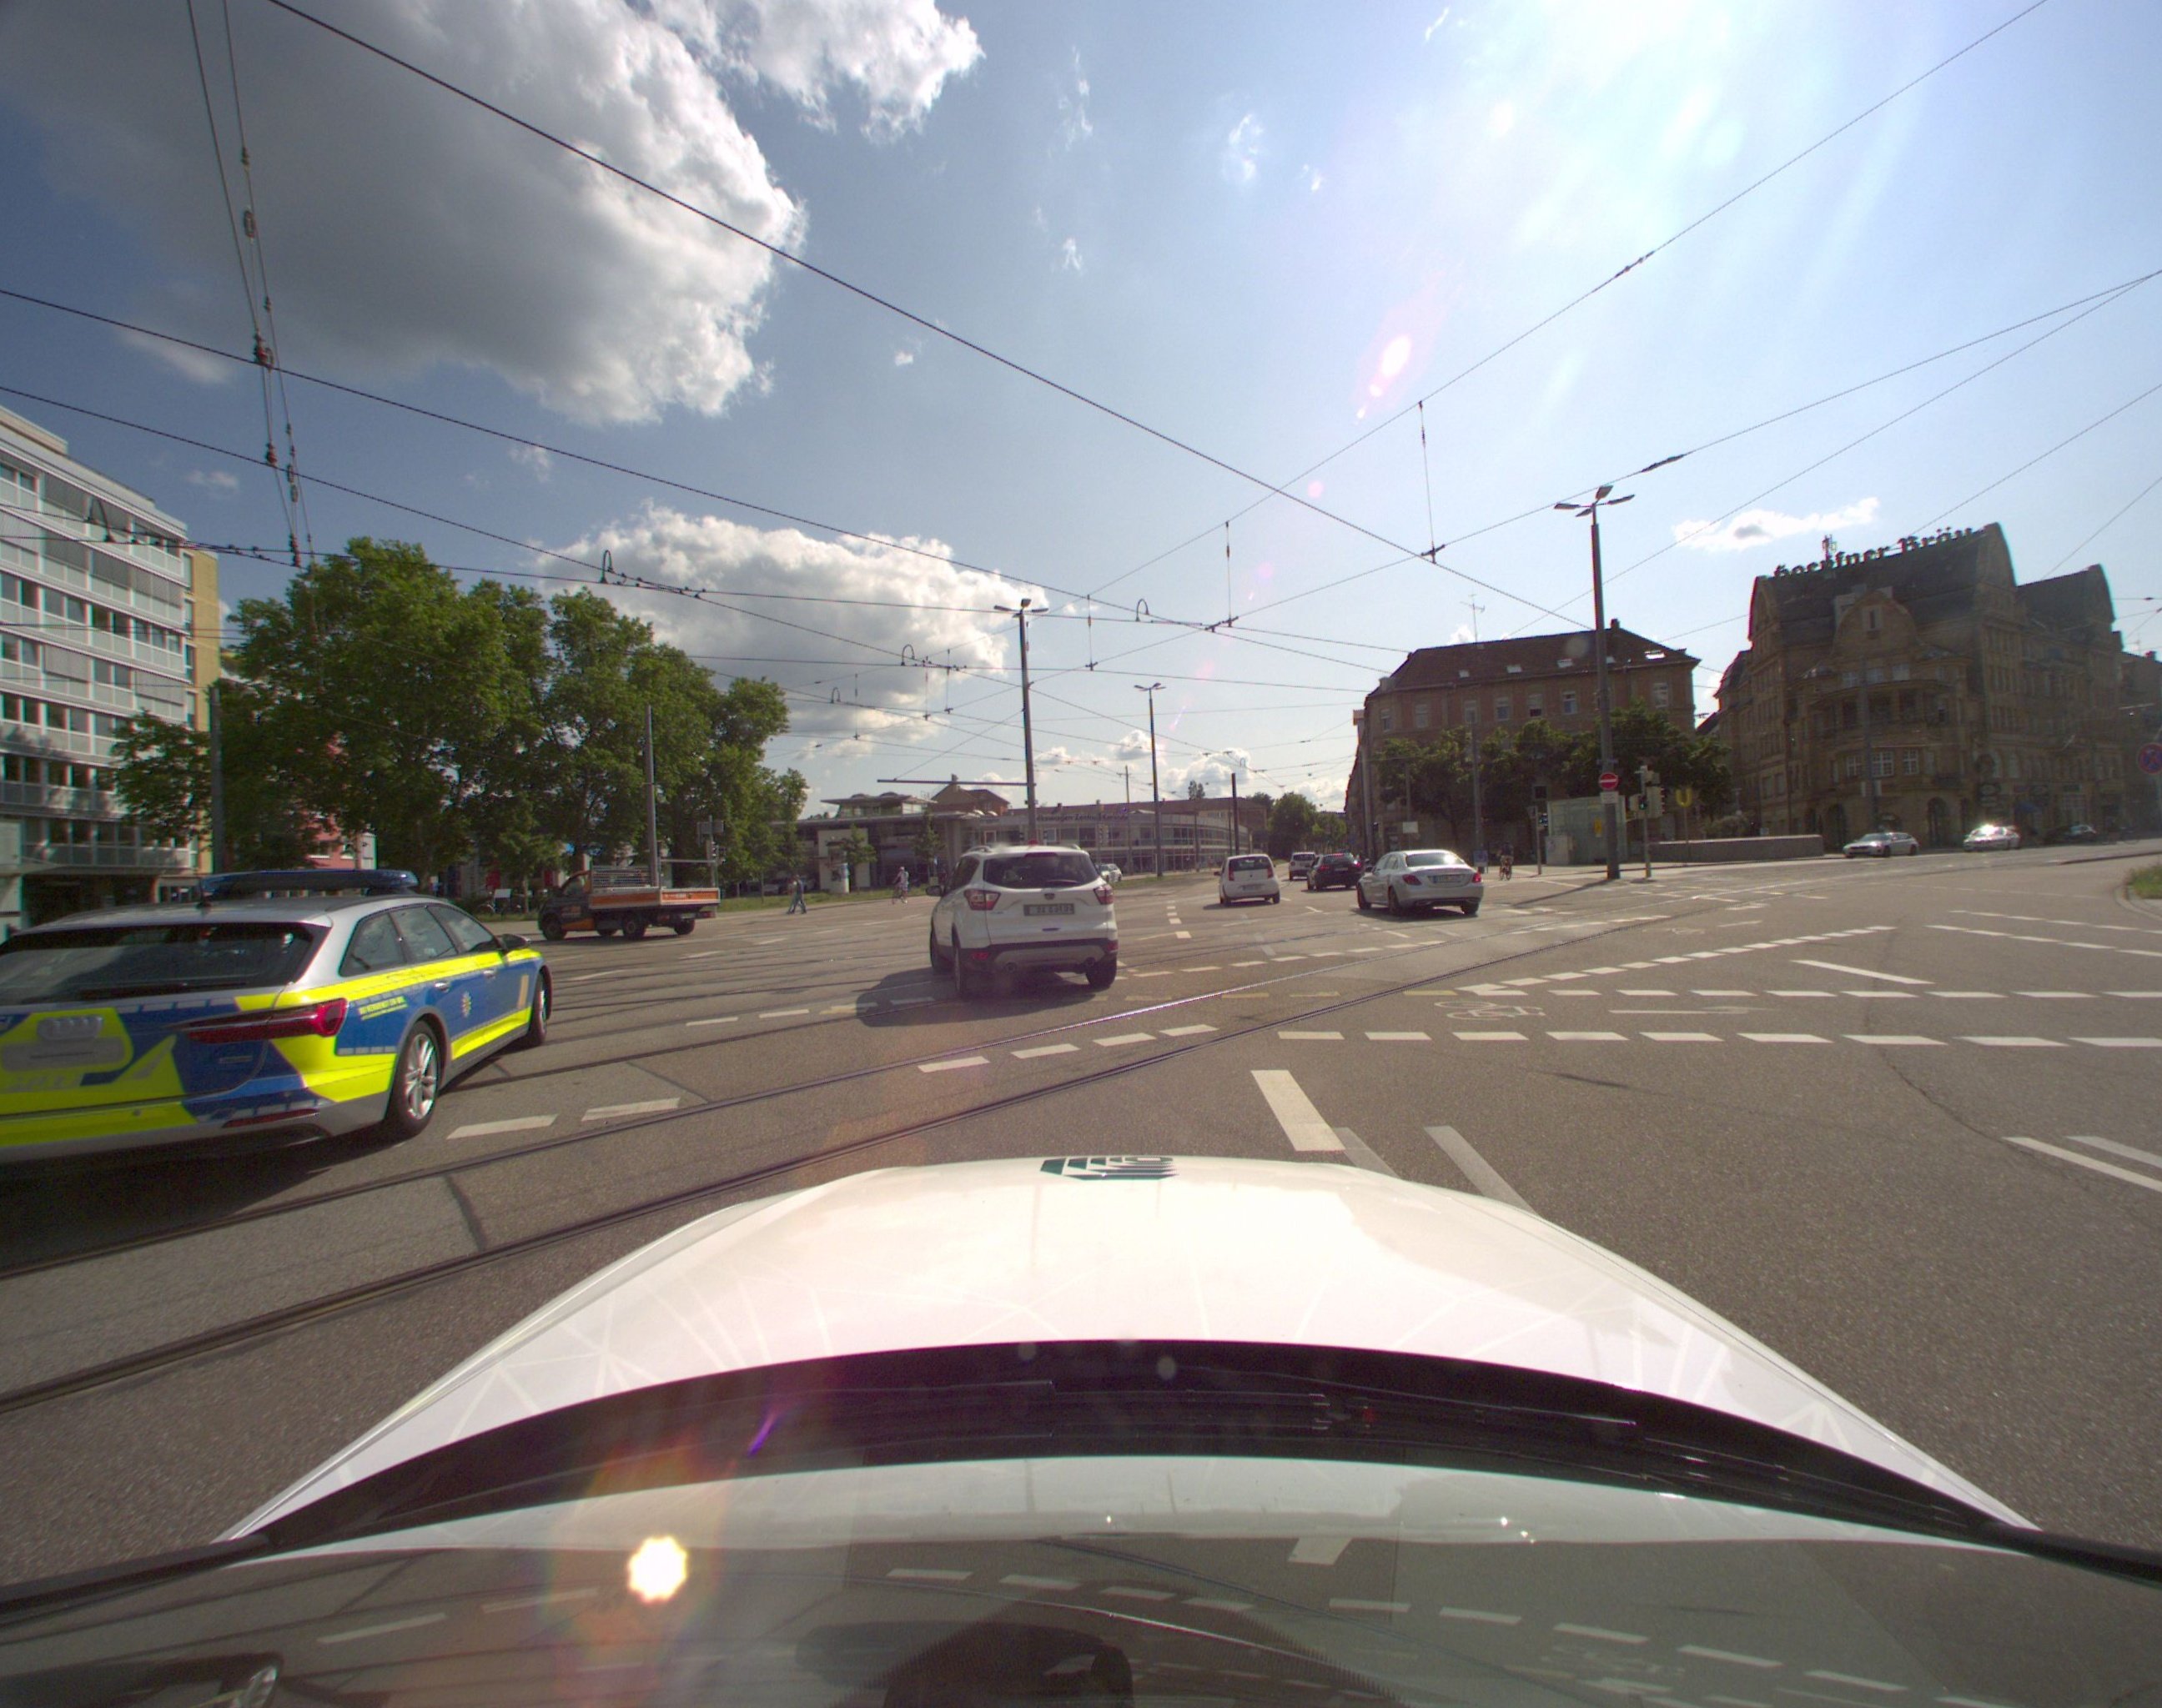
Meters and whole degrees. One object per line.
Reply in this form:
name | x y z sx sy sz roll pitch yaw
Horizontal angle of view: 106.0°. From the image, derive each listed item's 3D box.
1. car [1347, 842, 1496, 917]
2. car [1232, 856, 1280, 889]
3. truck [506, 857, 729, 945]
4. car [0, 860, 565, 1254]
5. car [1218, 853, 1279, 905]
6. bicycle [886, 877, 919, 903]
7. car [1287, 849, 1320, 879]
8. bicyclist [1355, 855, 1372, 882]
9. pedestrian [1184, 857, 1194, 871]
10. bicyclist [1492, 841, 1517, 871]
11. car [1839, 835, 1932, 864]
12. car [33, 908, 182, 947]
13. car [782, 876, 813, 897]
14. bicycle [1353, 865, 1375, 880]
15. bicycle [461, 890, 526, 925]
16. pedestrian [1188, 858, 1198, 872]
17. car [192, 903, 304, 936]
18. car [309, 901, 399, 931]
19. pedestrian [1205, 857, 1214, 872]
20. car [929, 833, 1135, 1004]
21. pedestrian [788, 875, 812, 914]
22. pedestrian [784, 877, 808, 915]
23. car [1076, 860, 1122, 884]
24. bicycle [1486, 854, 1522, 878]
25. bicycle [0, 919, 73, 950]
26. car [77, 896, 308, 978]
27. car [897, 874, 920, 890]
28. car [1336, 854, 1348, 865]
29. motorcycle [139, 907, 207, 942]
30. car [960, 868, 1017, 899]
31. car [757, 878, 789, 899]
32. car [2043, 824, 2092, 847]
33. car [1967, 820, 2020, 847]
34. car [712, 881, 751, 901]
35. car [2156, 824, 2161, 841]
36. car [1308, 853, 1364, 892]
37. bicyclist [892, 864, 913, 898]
car | 7.784 0.574 19.173 1.921 1.455 4.767 -2 -1 6
car | 8.182 0.850 37.877 1.835 1.419 3.695 -2 -1 17
truck | -13.039 1.320 22.885 5.780 2.155 2.359 -3 -1 23
car | -5.147 0.918 5.539 1.887 1.568 4.581 -2 -1 -22
car | 5.238 0.730 25.435 1.638 1.422 4.013 -3 -1 12
bicycle | -9.277 1.860 42.332 0.754 1.192 2.158 -4 -1 13
car | 13.381 0.617 49.156 1.823 1.652 4.015 -2 -2 14
bicyclist | 15.442 0.789 44.522 0.606 1.451 0.774 -3 -1 0
pedestrian | 13.302 1.240 100.072 0.866 1.737 0.882 -2 -2 34
bicyclist | 17.840 0.076 34.327 0.630 1.220 0.927 -4 -1 13
car | 46.614 -0.251 47.203 4.540 1.430 2.032 -2 -2 -20
car | -43.655 3.274 36.624 3.997 1.398 1.662 -2 -2 -18
car | -29.376 3.344 84.572 1.991 2.014 4.222 -4 -2 -6
bicycle | 15.451 1.020 44.514 0.583 0.776 1.620 -3 -1 -2
bicycle | -25.941 2.338 36.004 2.173 1.414 0.807 -1 -1 -17
pedestrian | 13.993 1.384 101.899 0.866 1.737 0.882 -2 -2 34
car | -46.991 3.669 46.035 3.997 1.495 1.792 -2 -1 -17
car | -39.147 3.304 44.009 1.908 1.413 3.981 -3 -2 -13
pedestrian | 16.588 1.332 105.117 0.866 1.922 0.882 -2 -2 31
car | -0.838 0.699 10.418 1.830 1.664 3.935 -3 -1 -15
pedestrian | -12.605 1.805 36.555 0.929 1.744 0.583 0 -2 -30
pedestrian | -13.103 1.920 37.472 0.929 1.744 0.583 0 -2 -30
car | 1.270 1.213 55.803 1.883 1.461 3.989 -4 -1 21
bicycle | 17.907 0.496 34.535 0.841 0.970 1.967 -4 -1 12
bicycle | -44.135 3.376 34.304 1.950 1.147 0.791 -2 -1 -20
car | -18.982 1.761 17.437 3.954 1.474 1.863 -3 -1 19
car | -17.605 2.863 83.370 1.816 1.534 3.908 -4 -2 -6
car | 42.407 0.937 132.299 1.822 1.652 4.018 -2 -2 18
motorcycle | -36.432 2.826 32.674 2.194 1.238 0.909 -3 0 16
car | -4.706 1.472 41.737 1.726 1.373 3.653 -4 -1 12
car | -32.026 3.558 84.724 1.965 1.937 4.222 -4 -2 -6
car | 76.586 -1.444 63.202 3.938 1.683 1.705 -1 -1 -29
car | 54.677 -1.244 48.840 4.023 1.484 1.967 -2 -1 -43
car | -36.695 3.873 85.587 1.963 1.937 5.063 -4 -2 -2
car | 92.906 -1.846 68.819 4.011 1.420 1.876 -1 -1 -29
car | 10.013 0.696 32.218 1.687 1.372 4.146 -3 -1 12
bicyclist | -9.302 1.398 42.453 0.754 1.683 0.763 -4 -1 13
